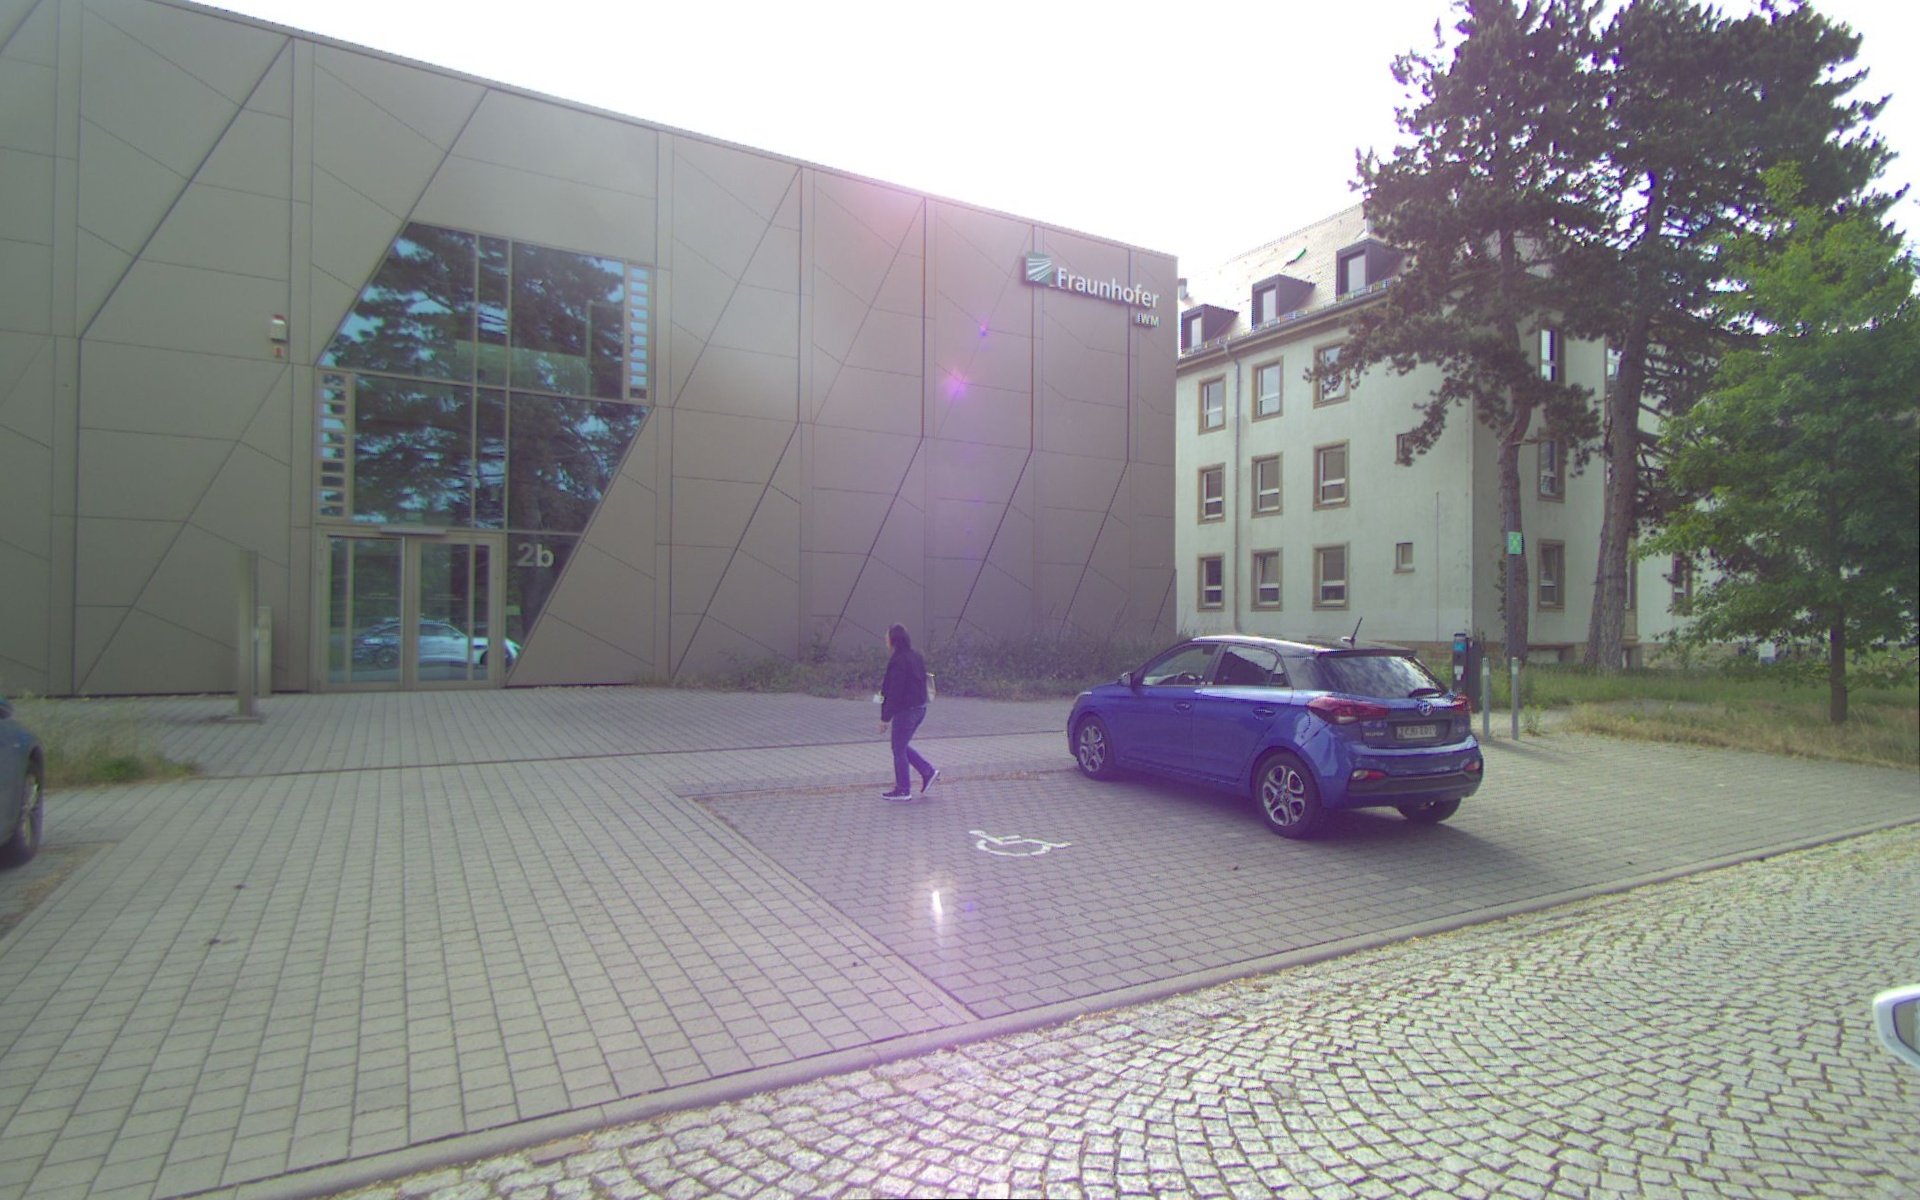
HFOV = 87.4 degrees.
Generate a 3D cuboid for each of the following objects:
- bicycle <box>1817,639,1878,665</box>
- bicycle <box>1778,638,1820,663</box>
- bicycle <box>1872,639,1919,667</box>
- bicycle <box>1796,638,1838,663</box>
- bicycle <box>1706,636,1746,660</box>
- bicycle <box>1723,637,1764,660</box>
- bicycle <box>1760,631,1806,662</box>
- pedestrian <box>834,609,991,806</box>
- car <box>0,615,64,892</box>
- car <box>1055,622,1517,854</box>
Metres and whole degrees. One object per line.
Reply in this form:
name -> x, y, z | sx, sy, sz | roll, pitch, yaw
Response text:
bicycle -> 38.410, 2.226, 43.480 | 0.729, 1.090, 1.849 | 1, -2, -27
bicycle -> 38.380, 2.305, 45.925 | 2.246, 1.090, 0.732 | 1, -2, -30
bicycle -> 39.352, 2.204, 41.852 | 0.821, 1.090, 1.849 | 1, -2, -27
bicycle -> 38.758, 2.289, 45.405 | 2.246, 1.090, 0.732 | 1, -2, -30
bicycle -> 37.009, 2.311, 48.500 | 2.246, 1.090, 0.732 | 1, -2, -30
bicycle -> 37.300, 2.299, 47.824 | 2.246, 1.090, 0.732 | 1, -2, -30
bicycle -> 38.325, 2.175, 46.755 | 2.679, 1.404, 0.732 | 1, -2, -30
pedestrian -> -0.399, 0.874, 8.586 | 0.969, 1.514, 0.816 | 4, 0, 33
car -> -5.475, 0.823, 4.296 | 1.755, 1.447, 4.280 | 1, 0, -33
car -> 2.631, 0.999, 8.998 | 1.828, 1.497, 3.752 | 1, 0, -27
